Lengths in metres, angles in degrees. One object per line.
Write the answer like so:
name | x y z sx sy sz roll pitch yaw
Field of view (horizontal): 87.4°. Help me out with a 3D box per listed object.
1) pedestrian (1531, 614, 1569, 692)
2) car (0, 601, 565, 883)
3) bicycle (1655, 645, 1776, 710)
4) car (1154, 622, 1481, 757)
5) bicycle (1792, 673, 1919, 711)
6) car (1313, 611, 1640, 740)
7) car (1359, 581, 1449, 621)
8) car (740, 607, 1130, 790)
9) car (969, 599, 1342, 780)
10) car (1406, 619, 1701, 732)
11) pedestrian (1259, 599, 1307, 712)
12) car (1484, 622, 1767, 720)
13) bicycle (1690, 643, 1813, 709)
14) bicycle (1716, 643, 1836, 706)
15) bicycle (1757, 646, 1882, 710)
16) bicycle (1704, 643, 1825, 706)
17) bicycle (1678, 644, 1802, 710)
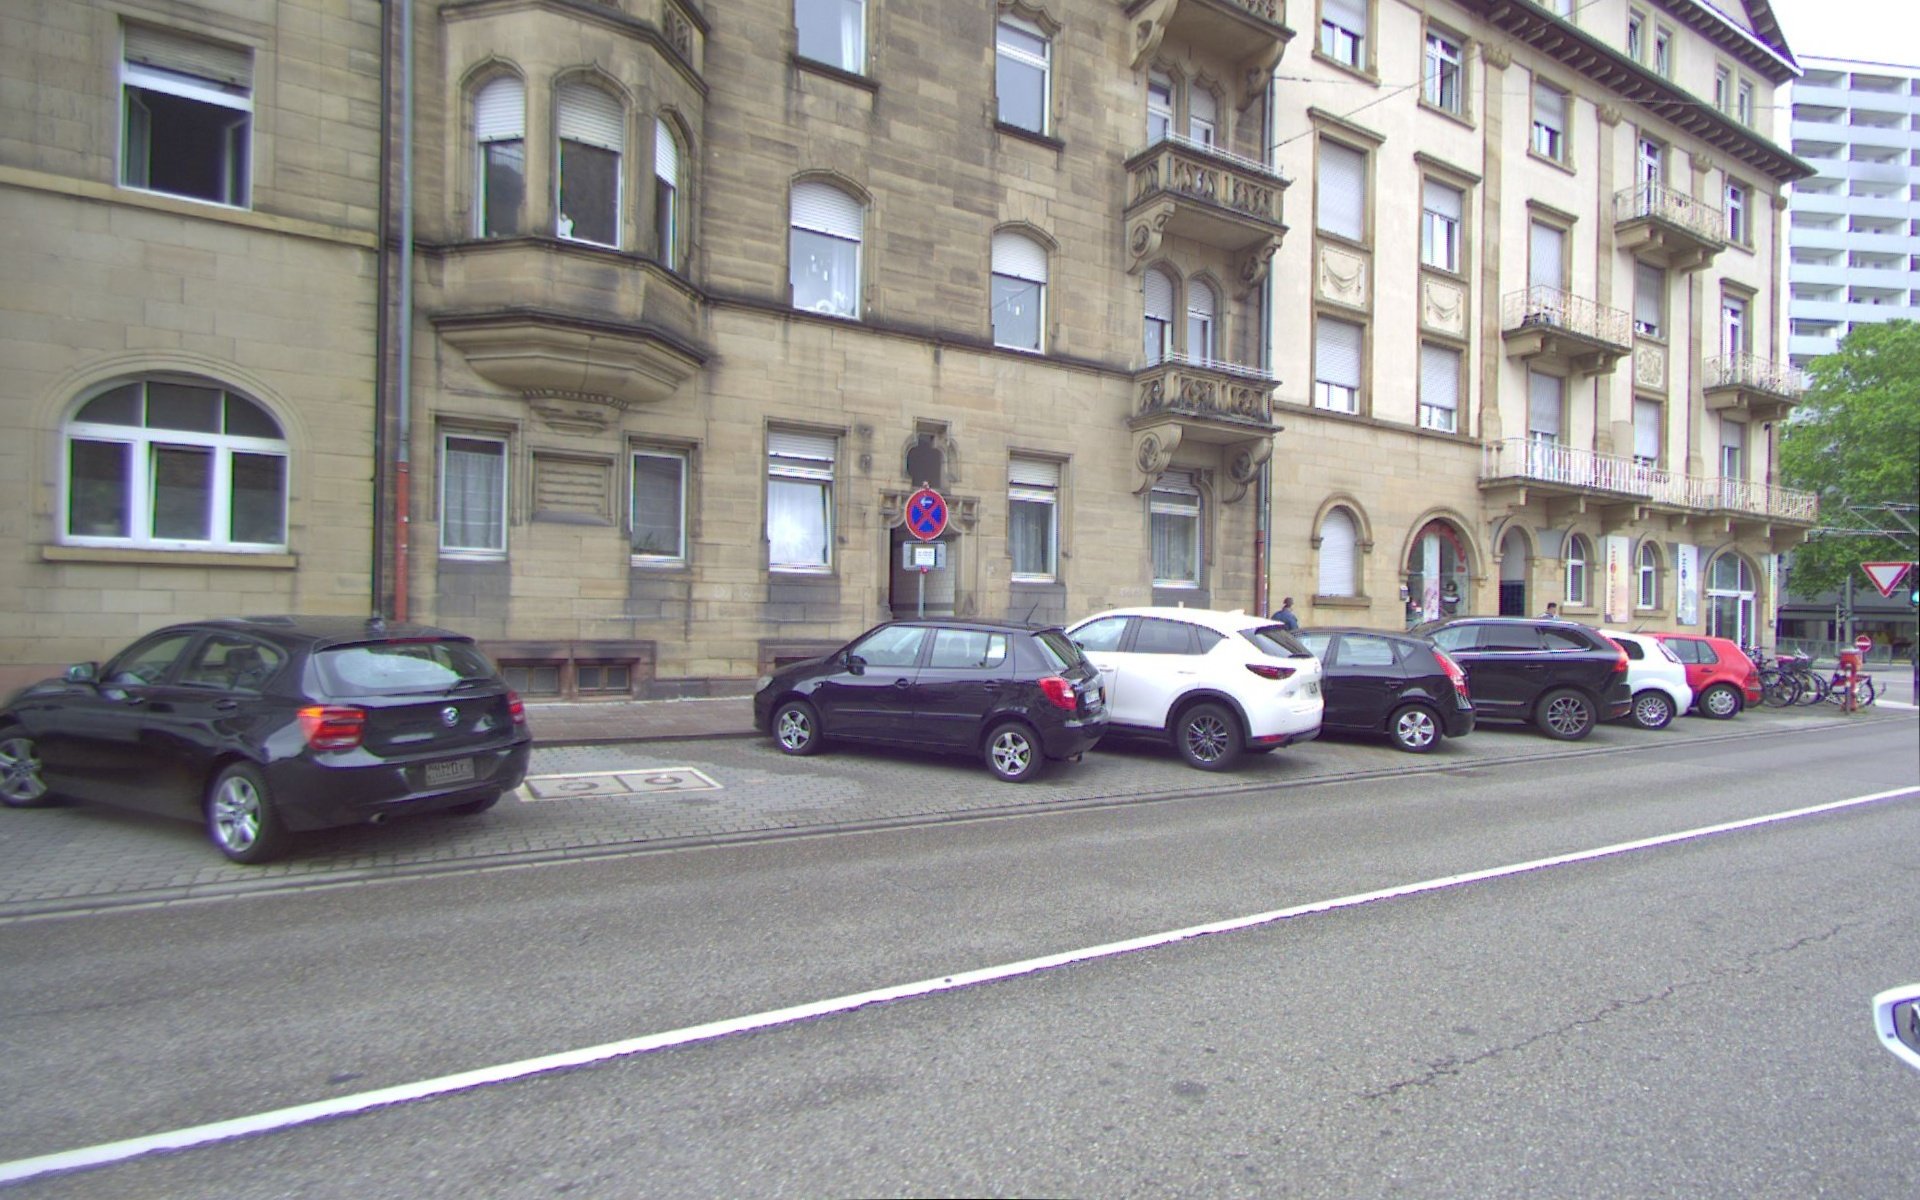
pedestrian | 13.859 1.231 23.598 0.544 1.809 0.564 1 -1 -29
car | -4.922 0.803 7.139 3.924 1.436 1.660 2 0 25
bicycle | 15.018 1.515 20.020 0.436 1.050 1.879 1 3 -26
car | 4.780 1.115 13.651 3.923 1.514 1.731 1 -1 23
bicycle | 19.058 1.932 21.341 1.017 0.451 1.876 0 5 -31
car | 7.583 1.058 15.217 4.141 1.673 1.732 1 -1 18
car | 10.293 0.031 23.276 1.991 0.845 0.909 2 -1 -30
car | -0.259 0.917 10.564 3.738 1.517 1.569 2 0 22
car | 2.244 0.917 11.918 3.935 1.746 1.835 1 -1 36
car | 9.697 1.180 16.749 3.920 1.492 1.564 3 2 18
pedestrian | 5.813 0.987 18.069 0.544 1.984 0.616 1 -1 -29
car | 12.005 1.239 18.382 3.919 1.492 1.685 2 1 12
bicycle | 16.206 1.533 20.631 0.437 1.050 1.876 1 5 -31
bicycle | 17.284 1.563 21.329 0.437 1.050 1.876 1 5 -31
bicycle | 18.020 1.608 21.111 0.437 1.050 1.876 1 5 -31
bicycle | 16.761 1.529 20.979 0.437 1.050 1.876 1 5 -31
bicycle | 15.756 1.537 20.350 0.437 1.050 1.876 1 5 -31
